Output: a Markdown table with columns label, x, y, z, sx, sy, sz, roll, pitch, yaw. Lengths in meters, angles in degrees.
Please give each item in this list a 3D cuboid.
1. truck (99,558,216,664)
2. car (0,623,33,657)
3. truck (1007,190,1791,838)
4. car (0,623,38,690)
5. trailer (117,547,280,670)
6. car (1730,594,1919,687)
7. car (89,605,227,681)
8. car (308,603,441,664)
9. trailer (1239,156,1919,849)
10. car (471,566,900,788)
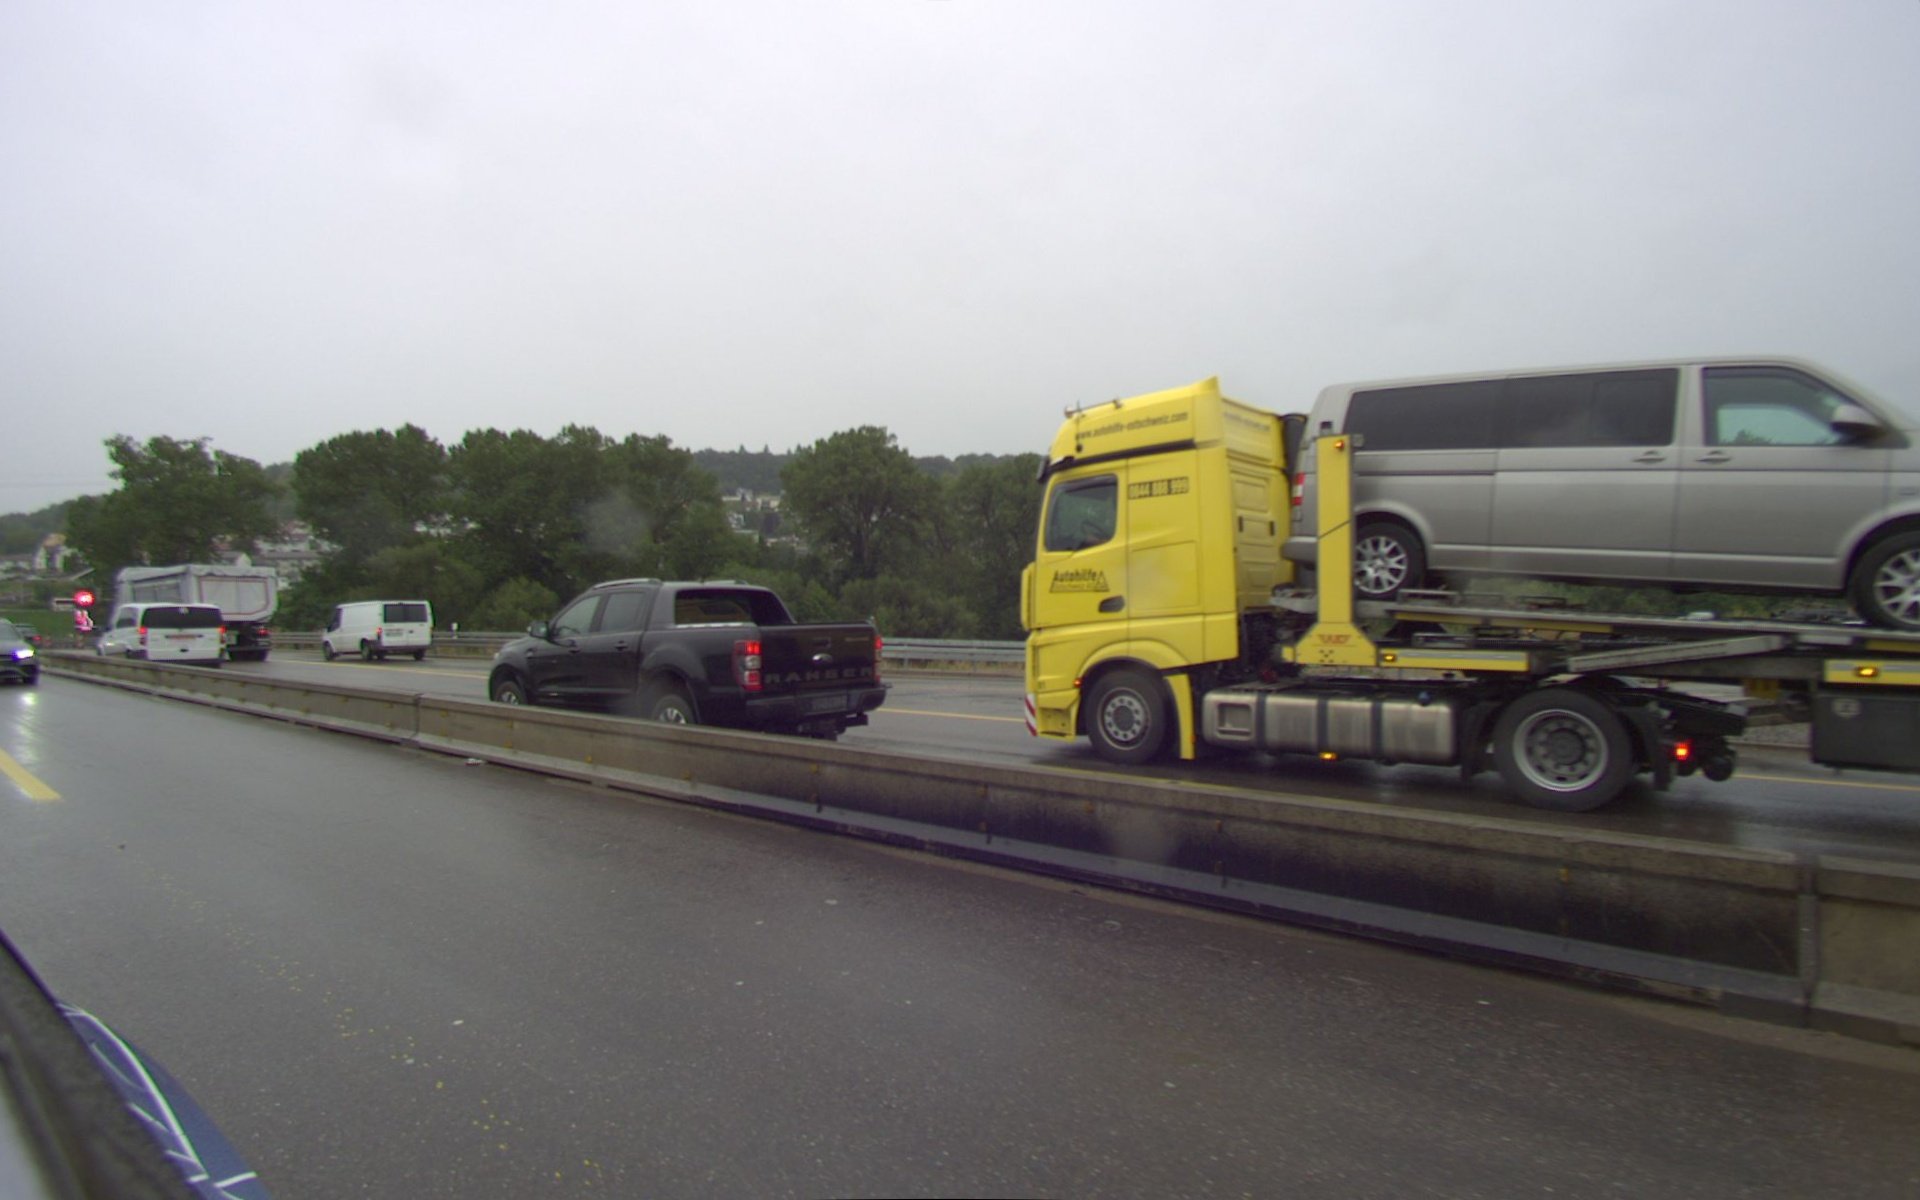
| label | x | y | z | sx | sy | sz | roll | pitch | yaw |
| --- | --- | --- | --- | --- | --- | --- | --- | --- | --- |
| truck | -32.213 | 0.505 | 40.565 | 5.270 | 3.957 | 2.658 | -2 | -3 | 41 |
| car | -43.410 | 1.797 | 45.807 | 3.997 | 1.464 | 1.692 | -2 | -1 | 41 |
| truck | 3.702 | -0.489 | 9.441 | 6.144 | 4.093 | 2.721 | -2 | -1 | 41 |
| car | -22.705 | 1.265 | 23.136 | 4.481 | 1.449 | 1.926 | -2 | -1 | 41 |
| trailer | -28.039 | 0.412 | 37.028 | 9.813 | 3.994 | 2.658 | -2 | -3 | 41 |
| car | 21.389 | 0.917 | 24.262 | 4.762 | 2.078 | 2.077 | 0 | -1 | -14 |
| car | -21.280 | 1.093 | 26.761 | 5.356 | 1.806 | 1.855 | -1 | -2 | 41 |
| car | -20.821 | 1.174 | 35.946 | 5.035 | 2.029 | 2.245 | -1 | -1 | 36 |
| trailer | 9.114 | -0.638 | 4.736 | 15.349 | 4.073 | 2.721 | -2 | -1 | 41 |
| car | -3.107 | 0.701 | 10.690 | 5.186 | 1.819 | 1.769 | -1 | -2 | 41 |
